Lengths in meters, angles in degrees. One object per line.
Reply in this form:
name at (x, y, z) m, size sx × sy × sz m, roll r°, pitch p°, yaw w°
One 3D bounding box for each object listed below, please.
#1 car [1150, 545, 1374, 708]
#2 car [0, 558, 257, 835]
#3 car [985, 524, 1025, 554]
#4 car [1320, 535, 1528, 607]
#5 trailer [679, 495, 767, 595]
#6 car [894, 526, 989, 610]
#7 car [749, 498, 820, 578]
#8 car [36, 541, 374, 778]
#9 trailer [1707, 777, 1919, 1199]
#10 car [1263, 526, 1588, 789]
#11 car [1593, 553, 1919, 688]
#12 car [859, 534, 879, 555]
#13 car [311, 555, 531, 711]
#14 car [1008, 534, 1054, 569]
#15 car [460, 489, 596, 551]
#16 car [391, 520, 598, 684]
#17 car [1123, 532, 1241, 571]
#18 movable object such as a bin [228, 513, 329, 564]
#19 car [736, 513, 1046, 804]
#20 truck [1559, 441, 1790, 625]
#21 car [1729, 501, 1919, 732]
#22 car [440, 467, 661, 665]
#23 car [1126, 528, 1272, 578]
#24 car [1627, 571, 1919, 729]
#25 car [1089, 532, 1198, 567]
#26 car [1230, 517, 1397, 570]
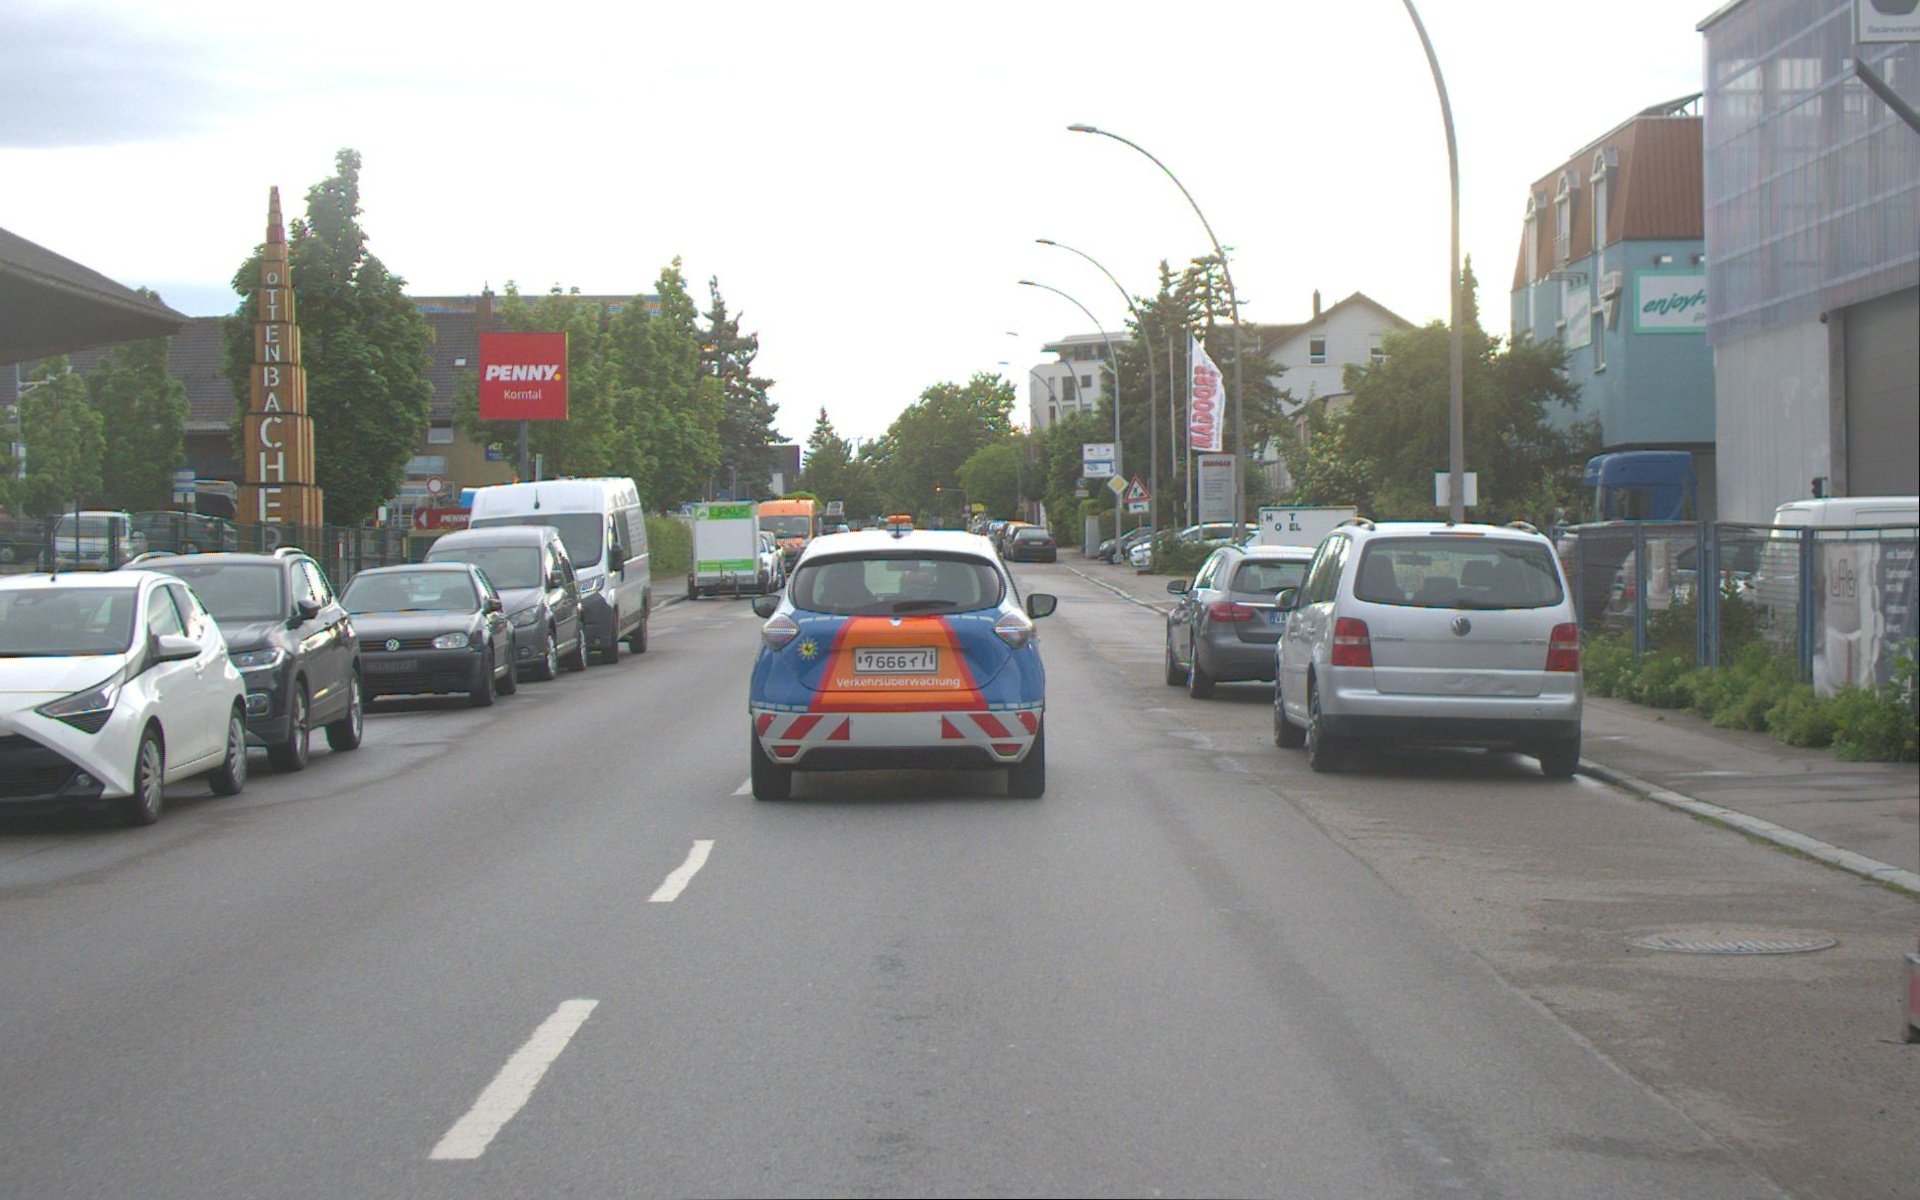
car at (2.880, 0.214, 33.592) m, size 1.738 × 1.461 × 4.546 m, roll 1°, pitch 1°, yaw 0°
car at (-5.468, 0.523, 20.817) m, size 1.616 × 1.504 × 3.660 m, roll -1°, pitch 1°, yaw 0°
car at (2.199, -2.983, 168.589) m, size 1.711 × 1.433 × 4.527 m, roll 1°, pitch 1°, yaw -3°
car at (9.437, -0.597, 70.047) m, size 3.986 × 1.425 × 1.631 m, roll 0°, pitch 1°, yaw -1°
trailer at (-5.795, -1.370, 84.581) m, size 1.812 × 2.306 × 4.731 m, roll -2°, pitch 1°, yaw -1°
car at (-0.374, -0.607, 64.999) m, size 1.650 × 1.516 × 4.000 m, roll 1°, pitch 1°, yaw -2°
car at (-5.803, -2.085, 114.416) m, size 2.124 × 2.529 × 6.023 m, roll -1°, pitch 1°, yaw -1°
car at (-5.528, 0.385, 25.616) m, size 1.661 × 1.579 × 3.917 m, roll -2°, pitch 1°, yaw -1°
trailer at (3.041, 1.002, 5.550) m, size 2.173 × 0.894 × 6.637 m, roll 1°, pitch 1°, yaw 0°
car at (3.109, 0.334, 23.728) m, size 1.739 × 1.616 × 4.373 m, roll 1°, pitch 1°, yaw 2°
car at (10.087, 0.244, 42.208) m, size 4.243 × 1.530 × 1.812 m, roll 2°, pitch 1°, yaw 0°
car at (-6.594, -4.045, 249.740) m, size 1.386 × 1.478 × 3.784 m, roll 0°, pitch 1°, yaw -2°
car at (-5.414, 0.289, 34.981) m, size 1.661 × 1.443 × 4.318 m, roll -2°, pitch 1°, yaw -2°
car at (2.811, -1.945, 136.673) m, size 1.589 × 1.336 × 4.093 m, roll 0°, pitch 1°, yaw -2°
car at (-14.511, -2.686, 115.660) m, size 4.306 × 2.007 × 2.063 m, roll 1°, pitch 1°, yaw 0°
car at (-5.538, -0.002, 41.419) m, size 1.769 × 1.762 × 4.446 m, roll -4°, pitch 1°, yaw 0°
car at (7.712, -1.693, 119.622) m, size 3.987 × 1.262 × 1.951 m, roll 1°, pitch 1°, yaw 2°
movable object such as a bin at (-24.737, -2.234, 124.833) m, size 3.421 × 1.753 × 2.000 m, roll 1°, pitch 1°, yaw -6°
car at (-0.418, 0.306, 20.991) m, size 1.731 × 1.625 × 3.495 m, roll 0°, pitch 1°, yaw -1°
truck at (15.316, -1.430, 73.902) m, size 4.143 × 3.661 × 2.720 m, roll 3°, pitch 1°, yaw -3°
car at (9.128, 0.155, 29.160) m, size 4.731 × 1.880 × 2.000 m, roll 1°, pitch 1°, yaw 0°
car at (-5.521, -0.496, 47.205) m, size 2.158 × 2.418 × 6.460 m, roll -3°, pitch 1°, yaw 0°
car at (7.386, -1.456, 106.461) m, size 4.338 × 1.470 × 1.903 m, roll 1°, pitch 1°, yaw -1°
car at (8.515, 0.459, 31.725) m, size 4.319 × 1.374 × 1.850 m, roll 1°, pitch 1°, yaw -1°
car at (6.980, -1.920, 131.300) m, size 3.986 × 1.262 × 1.951 m, roll 1°, pitch 1°, yaw -2°
car at (9.829, -1.584, 95.915) m, size 4.415 × 1.388 × 1.880 m, roll 1°, pitch 1°, yaw -1°
